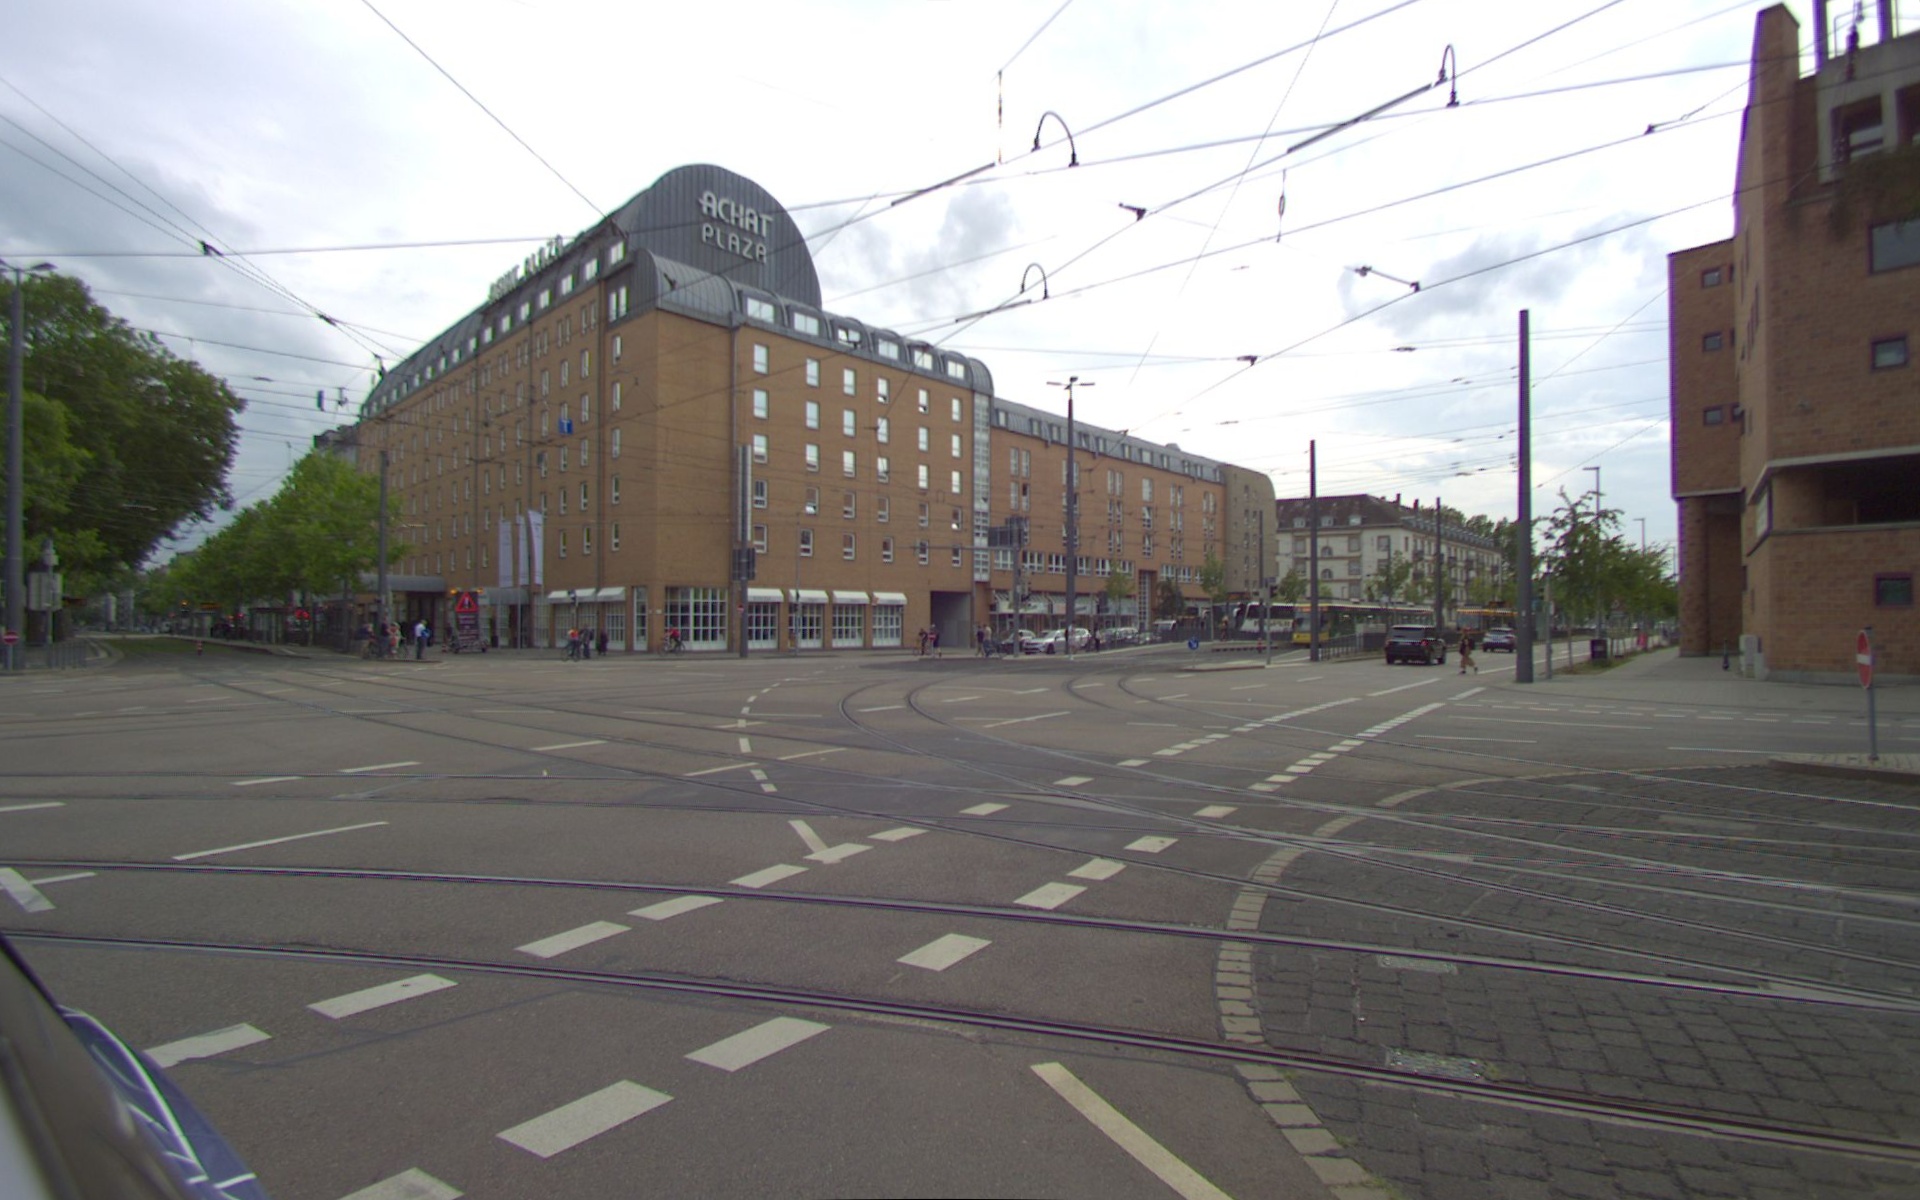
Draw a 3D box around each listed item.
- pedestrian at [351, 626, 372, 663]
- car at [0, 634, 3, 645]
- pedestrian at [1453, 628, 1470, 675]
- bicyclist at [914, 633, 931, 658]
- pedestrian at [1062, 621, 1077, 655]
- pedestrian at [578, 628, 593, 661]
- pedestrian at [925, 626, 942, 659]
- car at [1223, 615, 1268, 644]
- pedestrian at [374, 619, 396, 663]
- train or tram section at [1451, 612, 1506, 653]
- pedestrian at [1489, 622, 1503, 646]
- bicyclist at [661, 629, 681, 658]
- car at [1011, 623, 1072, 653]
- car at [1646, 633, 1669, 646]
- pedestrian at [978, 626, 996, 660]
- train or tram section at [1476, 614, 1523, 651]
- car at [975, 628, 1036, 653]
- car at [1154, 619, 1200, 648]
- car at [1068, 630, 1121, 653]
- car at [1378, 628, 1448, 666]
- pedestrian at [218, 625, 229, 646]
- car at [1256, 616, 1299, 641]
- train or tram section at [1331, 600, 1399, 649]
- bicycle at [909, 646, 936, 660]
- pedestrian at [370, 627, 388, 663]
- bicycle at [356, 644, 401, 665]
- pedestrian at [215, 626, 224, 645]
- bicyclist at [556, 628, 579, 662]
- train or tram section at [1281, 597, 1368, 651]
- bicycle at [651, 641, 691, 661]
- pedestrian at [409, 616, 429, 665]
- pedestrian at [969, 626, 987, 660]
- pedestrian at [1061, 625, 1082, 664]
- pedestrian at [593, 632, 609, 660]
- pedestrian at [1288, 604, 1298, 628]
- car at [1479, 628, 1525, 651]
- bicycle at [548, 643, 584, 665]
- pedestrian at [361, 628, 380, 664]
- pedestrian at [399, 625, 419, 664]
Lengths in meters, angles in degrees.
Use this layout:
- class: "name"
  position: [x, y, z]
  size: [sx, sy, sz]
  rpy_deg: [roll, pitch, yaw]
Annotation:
- class: "pedestrian"
  position: [-27.767, 2.051, 46.943]
  size: [0.533, 1.719, 0.677]
  rpy_deg: [-1, -2, 33]
- class: "car"
  position: [-153.735, 6.304, 160.954]
  size: [3.997, 1.722, 1.647]
  rpy_deg: [-1, -2, 40]
- class: "pedestrian"
  position: [18.698, 1.922, 37.734]
  size: [0.460, 1.722, 0.475]
  rpy_deg: [-1, -2, 44]
- class: "bicyclist"
  position: [-2.260, 2.759, 61.469]
  size: [0.636, 1.513, 0.854]
  rpy_deg: [-2, -3, 39]
- class: "pedestrian"
  position: [5.735, 1.997, 53.176]
  size: [0.576, 1.745, 0.625]
  rpy_deg: [-1, -2, 31]
- class: "pedestrian"
  position: [-19.478, 2.322, 52.643]
  size: [0.534, 1.719, 0.556]
  rpy_deg: [-1, -2, 42]
- class: "pedestrian"
  position: [-1.415, 2.275, 53.920]
  size: [0.749, 1.745, 0.571]
  rpy_deg: [-2, -2, 35]
- class: "car"
  position: [23.263, 2.401, 82.402]
  size: [1.700, 2.337, 5.018]
  rpy_deg: [-2, -2, 38]
- class: "pedestrian"
  position: [-25.948, 1.850, 45.642]
  size: [0.534, 1.967, 0.684]
  rpy_deg: [-1, -2, 40]
- class: "train or tram section"
  position: [46.894, 2.945, 91.405]
  size: [2.449, 3.477, 9.481]
  rpy_deg: [-2, -3, 39]
- class: "pedestrian"
  position: [45.717, 2.914, 86.290]
  size: [0.779, 2.029, 1.213]
  rpy_deg: [-2, -2, 40]
- class: "bicyclist"
  position: [-15.582, 2.346, 54.585]
  size: [0.853, 1.513, 0.637]
  rpy_deg: [2, -2, -44]
- class: "car"
  position: [4.938, 2.277, 61.045]
  size: [1.798, 1.697, 3.948]
  rpy_deg: [-1, -2, 39]
- class: "car"
  position: [76.404, 4.330, 110.892]
  size: [1.695, 1.304, 3.947]
  rpy_deg: [-1, -2, 40]
- class: "pedestrian"
  position: [1.398, 2.252, 52.701]
  size: [0.749, 1.745, 0.571]
  rpy_deg: [-1, -2, 35]
- class: "train or tram section"
  position: [52.399, 3.159, 98.108]
  size: [2.440, 3.466, 8.057]
  rpy_deg: [-2, -3, 39]
- class: "car"
  position: [2.838, 2.483, 62.346]
  size: [1.798, 1.490, 3.948]
  rpy_deg: [-2, -2, 39]
- class: "car"
  position: [17.329, 2.663, 80.680]
  size: [1.700, 2.247, 4.773]
  rpy_deg: [-1, -2, 38]
- class: "car"
  position: [8.803, 2.663, 65.975]
  size: [1.700, 1.453, 3.948]
  rpy_deg: [-1, -2, 38]
- class: "car"
  position: [20.424, 2.079, 45.544]
  size: [1.931, 1.620, 4.475]
  rpy_deg: [-1, -2, 37]
- class: "pedestrian"
  position: [-60.128, 2.870, 82.641]
  size: [0.639, 1.719, 0.625]
  rpy_deg: [2, -3, -43]
- class: "car"
  position: [27.458, 2.485, 87.561]
  size: [1.998, 2.184, 4.510]
  rpy_deg: [-2, -3, 39]
- class: "train or tram section"
  position: [30.480, 1.895, 75.942]
  size: [2.575, 3.477, 7.521]
  rpy_deg: [-2, -3, 39]
- class: "bicycle"
  position: [-2.247, 3.227, 61.483]
  size: [0.639, 0.787, 1.773]
  rpy_deg: [-1, -2, 39]
- class: "pedestrian"
  position: [-28.597, 2.203, 49.837]
  size: [0.533, 1.719, 0.557]
  rpy_deg: [-1, -2, 33]
- class: "bicycle"
  position: [-26.317, 2.451, 45.823]
  size: [0.499, 0.895, 1.687]
  rpy_deg: [-1, -2, 44]
- class: "pedestrian"
  position: [-68.483, 3.264, 93.574]
  size: [0.639, 1.719, 0.625]
  rpy_deg: [2, -3, -41]
- class: "bicyclist"
  position: [-18.138, 2.071, 46.730]
  size: [0.816, 1.513, 0.643]
  rpy_deg: [-1, -2, 37]
- class: "train or tram section"
  position: [25.134, 1.678, 69.403]
  size: [2.575, 3.477, 9.481]
  rpy_deg: [-2, -3, 39]
- class: "bicycle"
  position: [-15.589, 2.752, 54.572]
  size: [2.030, 1.016, 0.640]
  rpy_deg: [2, -2, -45]
- class: "pedestrian"
  position: [-23.974, 1.767, 44.830]
  size: [0.533, 2.146, 0.557]
  rpy_deg: [-1, -2, 33]
- class: "pedestrian"
  position: [0.915, 2.201, 51.817]
  size: [0.749, 1.745, 0.571]
  rpy_deg: [-1, -2, 35]
- class: "pedestrian"
  position: [4.989, 1.983, 45.409]
  size: [0.750, 1.745, 0.571]
  rpy_deg: [-1, -2, 40]
- class: "pedestrian"
  position: [-19.717, 2.526, 55.540]
  size: [0.642, 1.518, 0.533]
  rpy_deg: [0, -2, 7]
- class: "pedestrian"
  position: [23.822, 1.143, 72.389]
  size: [0.542, 1.745, 0.487]
  rpy_deg: [-1, -2, 32]
- class: "car"
  position: [35.392, 2.554, 66.057]
  size: [1.932, 1.442, 4.246]
  rpy_deg: [-1, -2, 39]
- class: "bicycle"
  position: [-18.197, 2.472, 46.766]
  size: [1.890, 0.943, 0.651]
  rpy_deg: [-1, -2, 38]
- class: "pedestrian"
  position: [-28.339, 2.224, 48.660]
  size: [0.533, 1.719, 0.557]
  rpy_deg: [-1, -2, 33]
- class: "pedestrian"
  position: [-24.852, 1.992, 45.635]
  size: [0.577, 1.719, 0.557]
  rpy_deg: [-1, -2, 33]
